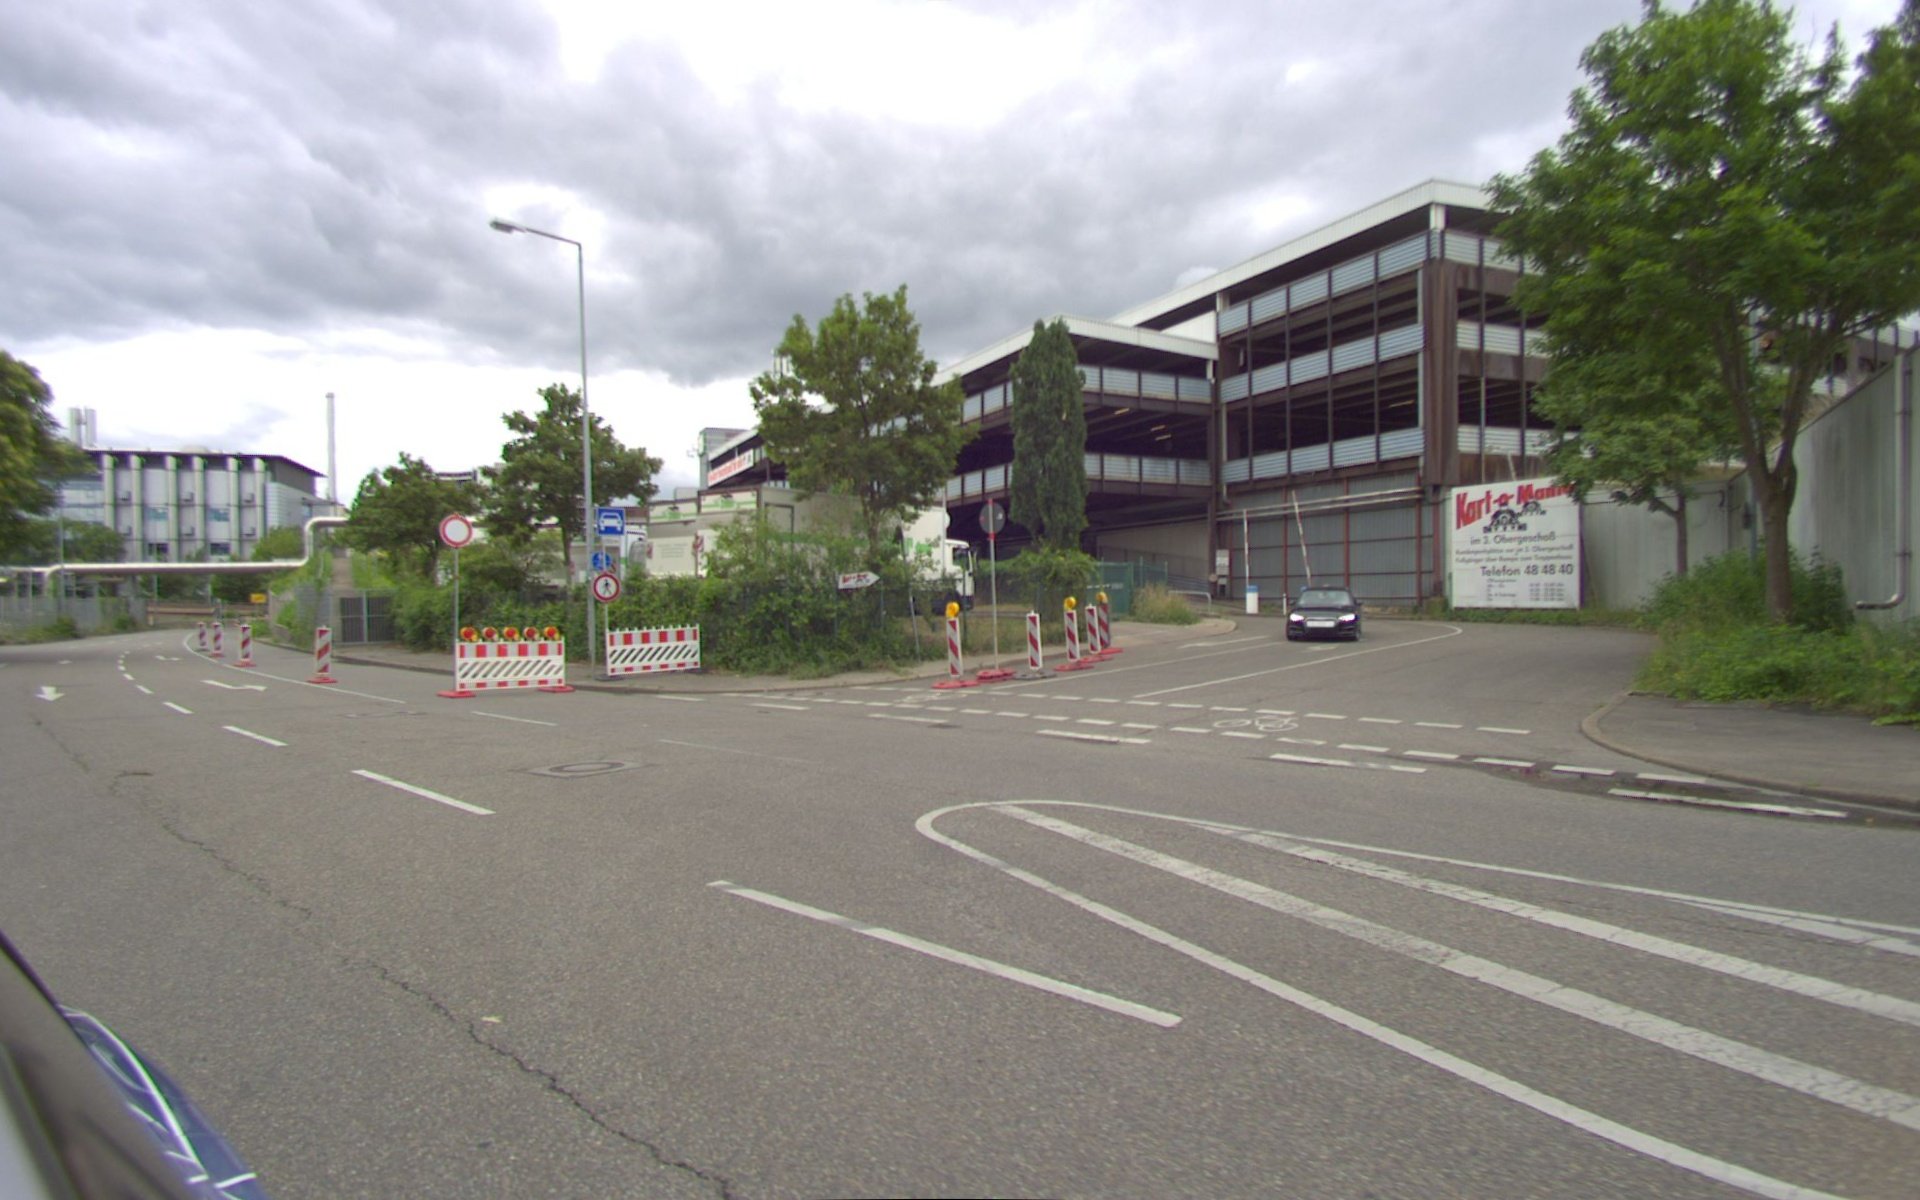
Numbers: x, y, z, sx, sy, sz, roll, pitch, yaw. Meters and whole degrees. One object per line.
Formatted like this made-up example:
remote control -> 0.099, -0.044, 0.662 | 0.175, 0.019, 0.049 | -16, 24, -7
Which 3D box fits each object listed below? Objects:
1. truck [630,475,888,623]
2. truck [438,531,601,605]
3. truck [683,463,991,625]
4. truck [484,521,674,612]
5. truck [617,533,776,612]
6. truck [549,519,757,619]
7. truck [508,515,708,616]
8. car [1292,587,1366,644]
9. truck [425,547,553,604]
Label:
truck -> -5.986, -1.451, 31.483 | 3.048, 4.021, 7.766 | 0, 1, 38
truck -> -22.863, -1.637, 53.114 | 3.031, 3.564, 8.096 | 0, 1, 22
truck -> -3.205, -1.470, 29.737 | 3.050, 4.021, 9.525 | 0, 1, 40
truck -> -16.378, -1.409, 44.175 | 3.037, 3.564, 7.796 | 1, 1, 27
truck -> -8.626, -0.882, 33.395 | 2.197, 2.423, 4.635 | 0, 1, 45
truck -> -11.037, -1.097, 37.351 | 3.034, 3.274, 7.804 | 0, 1, 24
truck -> -13.689, -1.311, 40.178 | 3.034, 3.564, 7.804 | 0, 1, 24
car -> 10.247, 0.378, 28.313 | 1.787, 1.419, 4.361 | -1, 1, 19
truck -> -31.239, -1.640, 67.539 | 3.031, 3.564, 7.810 | 0, 1, 22
